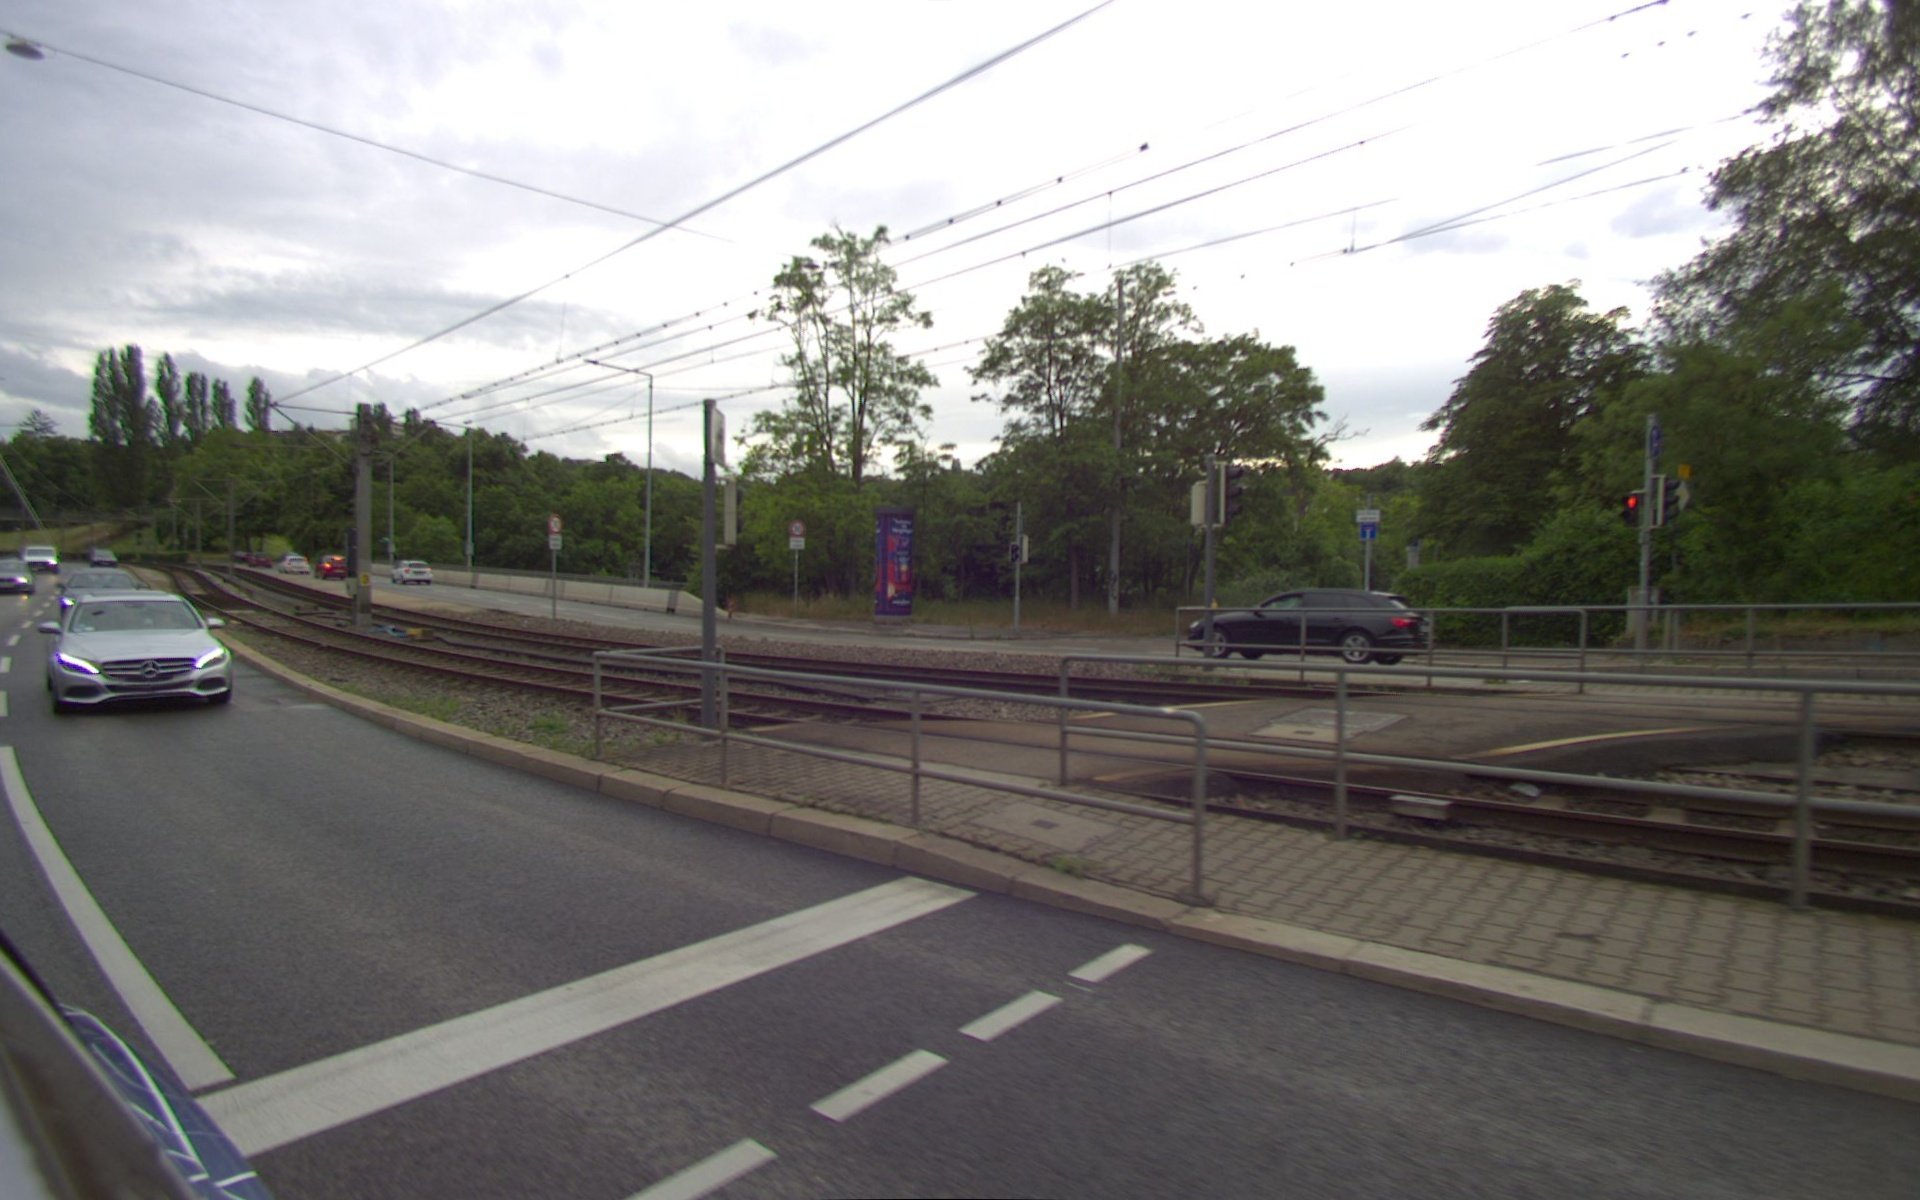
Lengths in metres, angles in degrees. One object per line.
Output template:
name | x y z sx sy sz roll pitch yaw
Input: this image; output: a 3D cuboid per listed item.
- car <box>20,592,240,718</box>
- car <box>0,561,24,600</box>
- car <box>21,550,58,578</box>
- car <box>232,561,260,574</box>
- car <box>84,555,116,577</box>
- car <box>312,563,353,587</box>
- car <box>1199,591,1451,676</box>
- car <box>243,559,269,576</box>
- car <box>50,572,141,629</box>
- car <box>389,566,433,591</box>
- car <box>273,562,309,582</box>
car | -11.429 0.620 13.838 4.061 1.366 1.846 2 3 44
car | -40.544 -0.838 42.511 1.743 1.512 4.004 -1 3 -44
car | -64.728 -2.556 71.140 1.743 1.830 4.003 -2 4 -45
car | -82.091 -3.744 116.394 4.742 1.447 1.796 3 3 44
car | -73.261 -2.884 86.154 1.743 1.830 4.003 -2 3 -45
car | -43.904 -1.769 70.794 1.824 1.609 4.741 1 1 -39
car | 6.968 0.598 19.591 4.272 1.469 1.698 -1 0 41
car | -68.283 -3.125 98.120 1.582 1.504 3.021 1 3 -44
car | -23.967 -0.046 28.018 1.711 1.362 4.004 -1 3 -43
car | -36.081 -1.434 66.417 1.798 1.526 4.539 0 3 -38
car | -54.542 -2.297 82.495 1.709 1.447 4.497 1 3 -43
